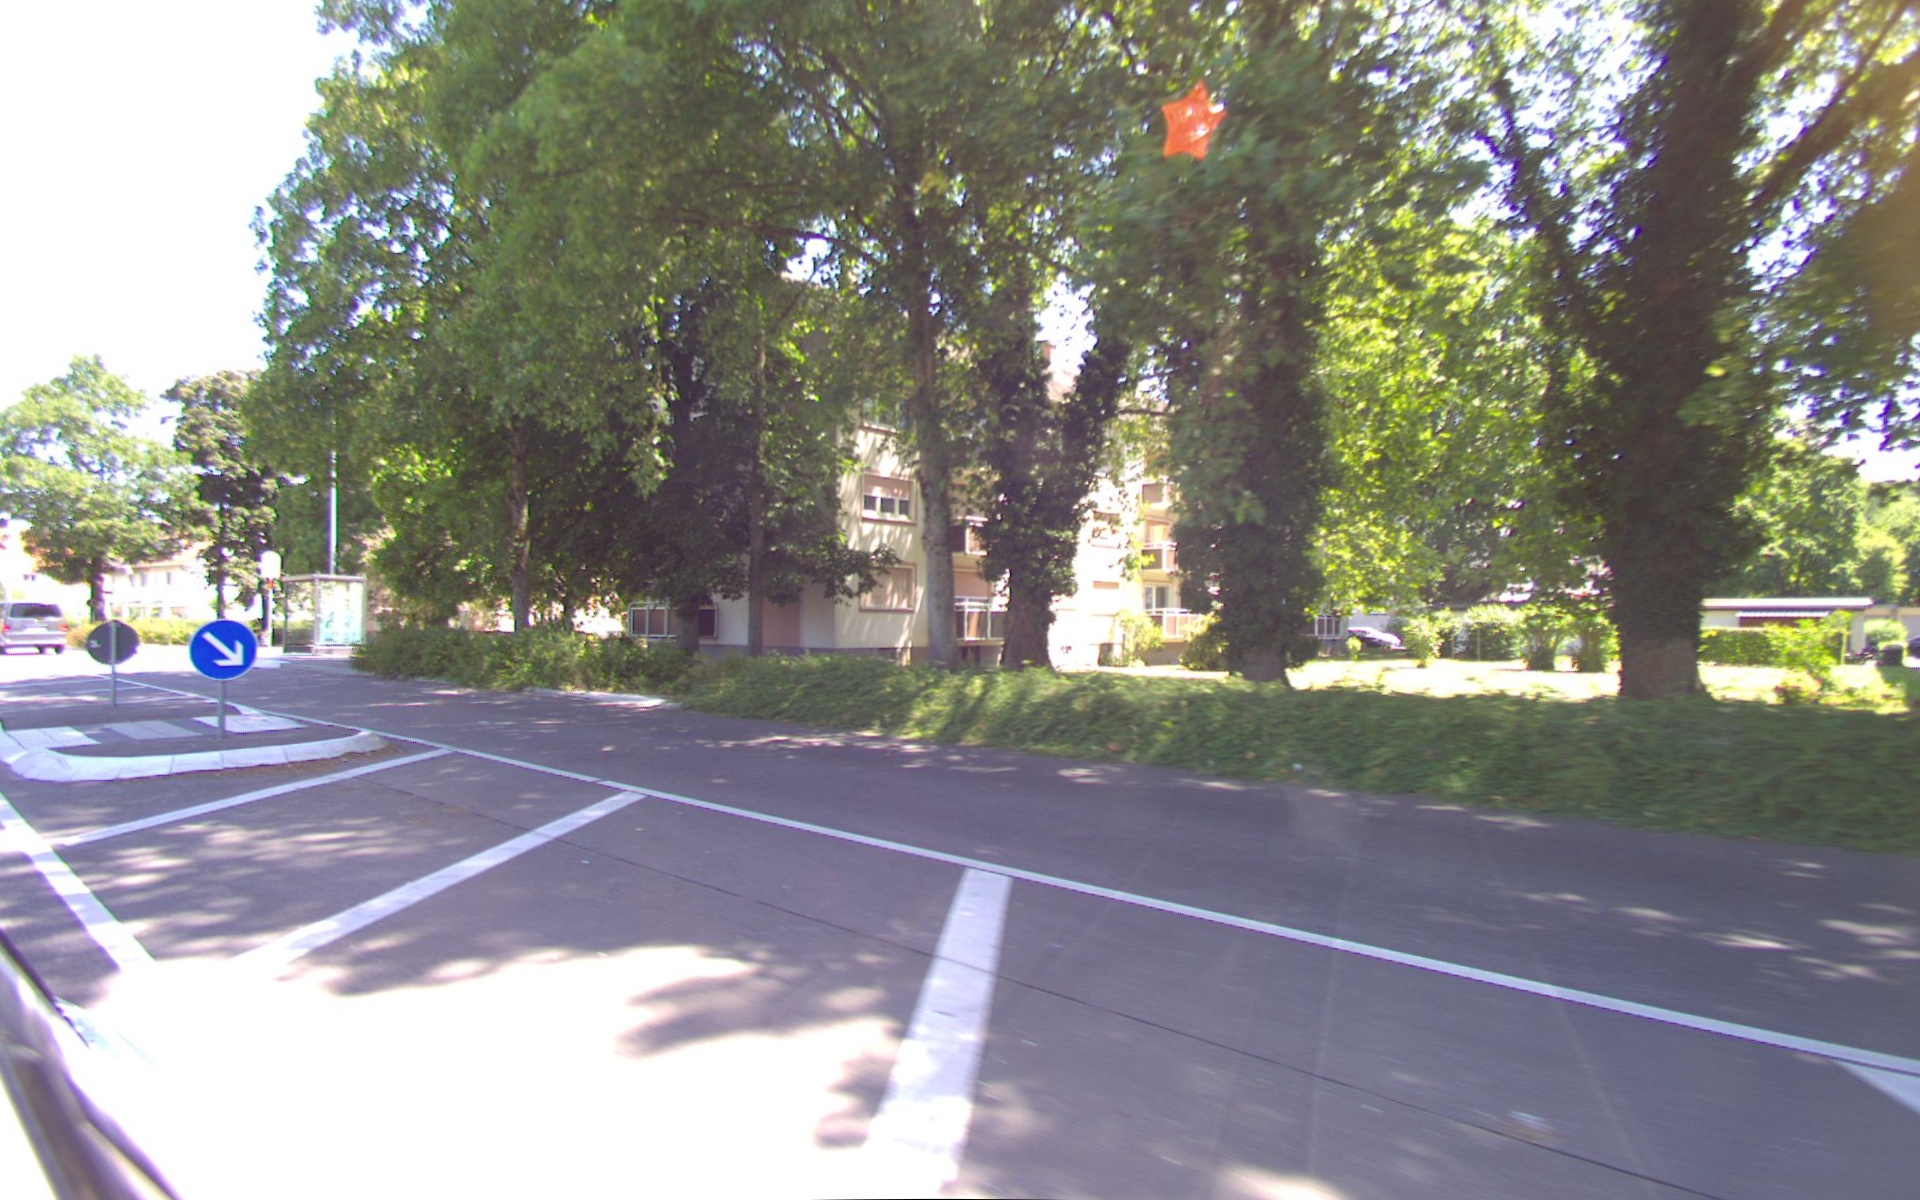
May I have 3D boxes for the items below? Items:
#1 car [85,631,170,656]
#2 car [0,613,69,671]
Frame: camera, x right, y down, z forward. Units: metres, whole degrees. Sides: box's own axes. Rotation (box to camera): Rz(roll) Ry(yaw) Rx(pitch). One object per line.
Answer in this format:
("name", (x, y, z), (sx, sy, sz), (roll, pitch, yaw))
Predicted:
("car", (-49.811, 2.605, 60.613), (1.542, 1.461, 3.670), (-1, -3, 16))
("car", (-34.475, 1.481, 37.086), (4.985, 1.924, 1.974), (0, 0, 39))
